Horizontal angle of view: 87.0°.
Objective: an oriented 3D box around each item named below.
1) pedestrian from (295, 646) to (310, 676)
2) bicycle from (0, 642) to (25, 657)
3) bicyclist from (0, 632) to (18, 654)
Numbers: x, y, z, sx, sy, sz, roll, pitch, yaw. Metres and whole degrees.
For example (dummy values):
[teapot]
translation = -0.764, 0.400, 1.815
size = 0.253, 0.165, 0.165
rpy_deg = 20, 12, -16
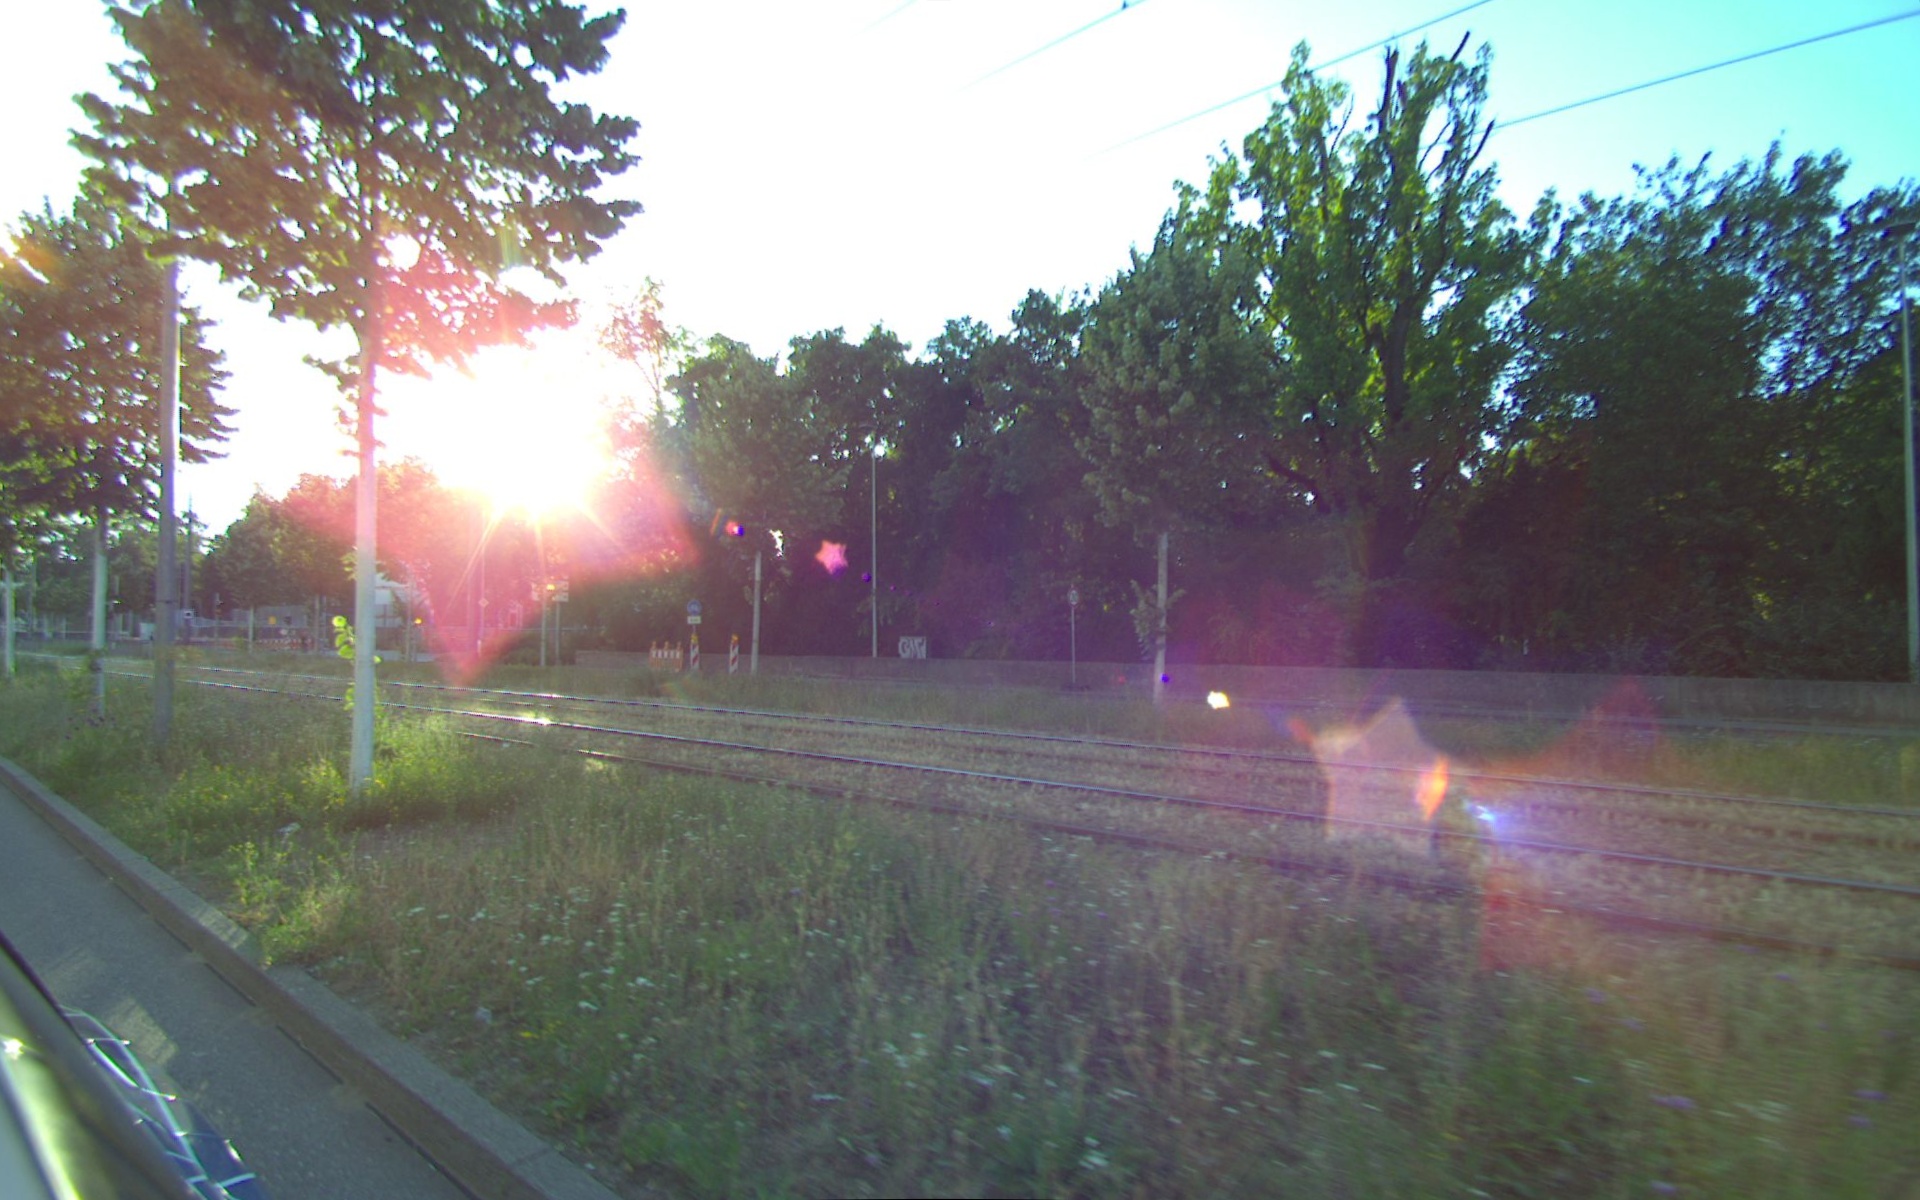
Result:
[pedestrian]
translation = -36.807, 3.392, 56.663
size = 0.660, 1.620, 0.679
rpy_deg = -1, -5, -35
[bicycle]
translation = -73.695, 3.844, 78.301
size = 1.866, 1.142, 0.719
rpy_deg = -1, -1, -15
[bicyclist]
translation = -73.708, 3.349, 78.309
size = 0.928, 1.633, 0.719
rpy_deg = -1, -1, -15
